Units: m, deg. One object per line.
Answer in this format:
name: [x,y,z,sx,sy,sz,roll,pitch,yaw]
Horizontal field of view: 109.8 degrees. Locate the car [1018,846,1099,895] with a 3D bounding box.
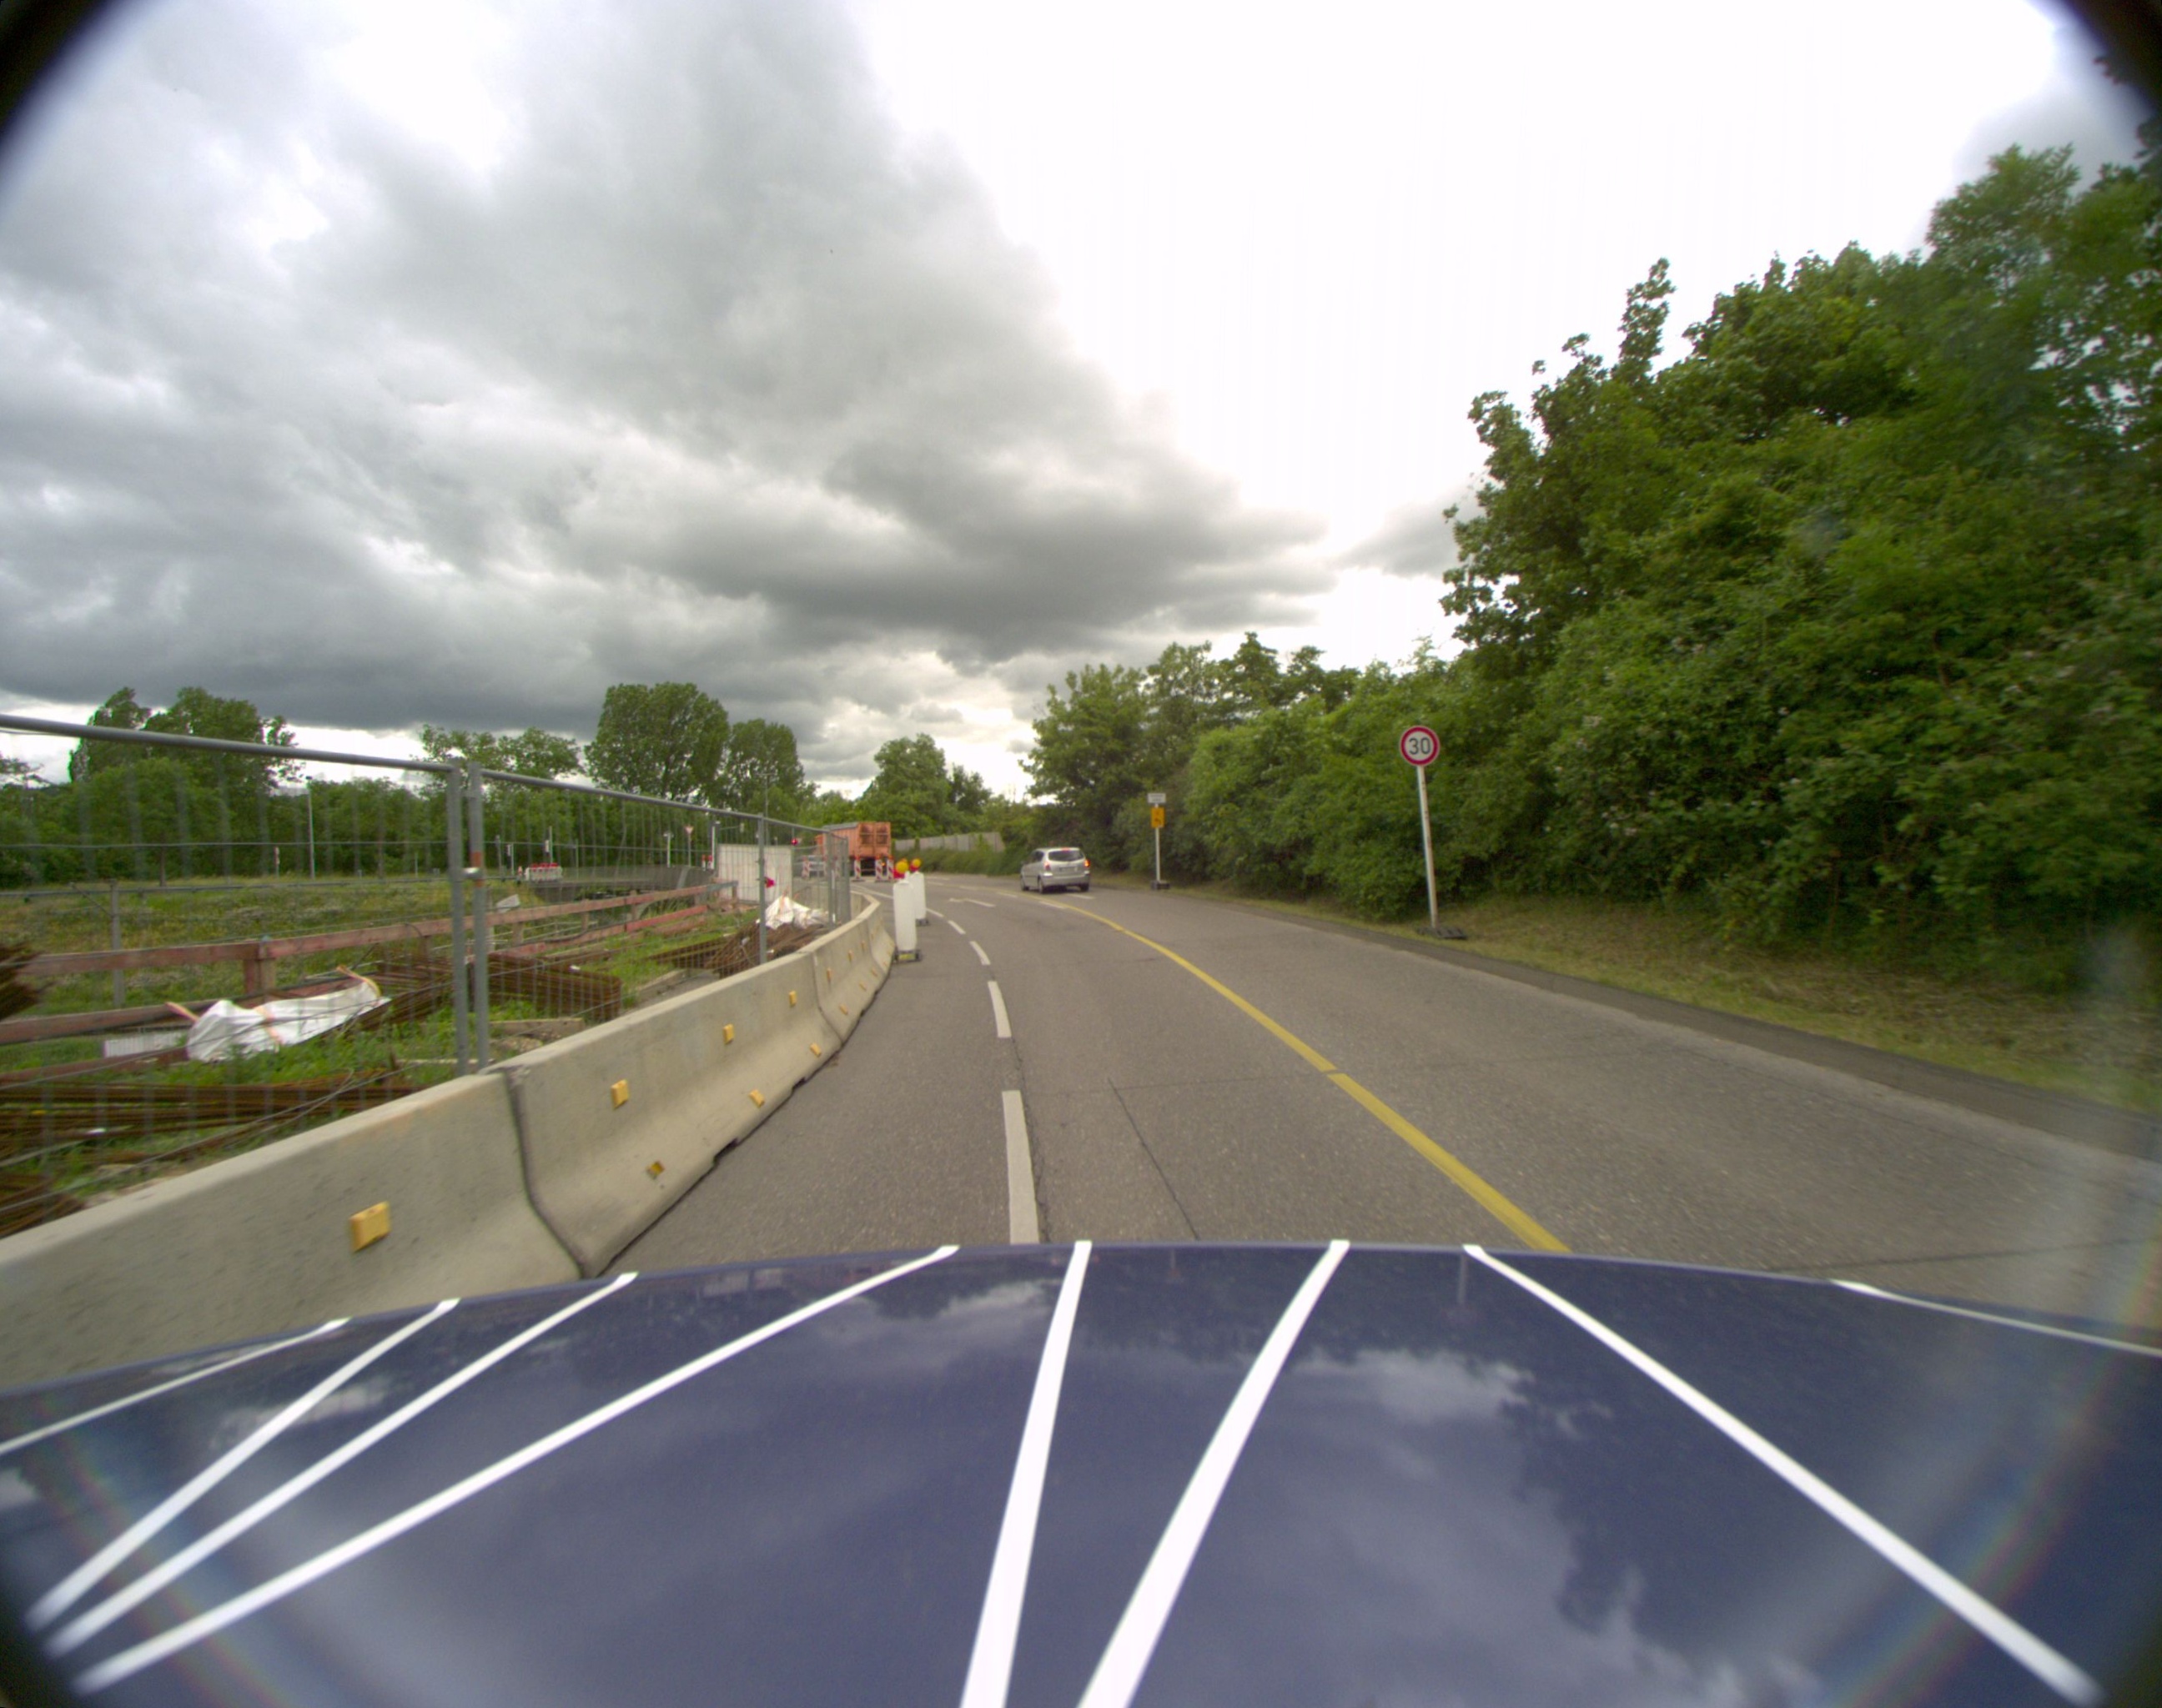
car: [-0.912,0.549,27.726,1.896,1.554,4.094,-3,1,-17]

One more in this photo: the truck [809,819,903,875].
truck: [-17.171,-0.461,57.426,3.047,3.875,9.976,-3,1,-39]
